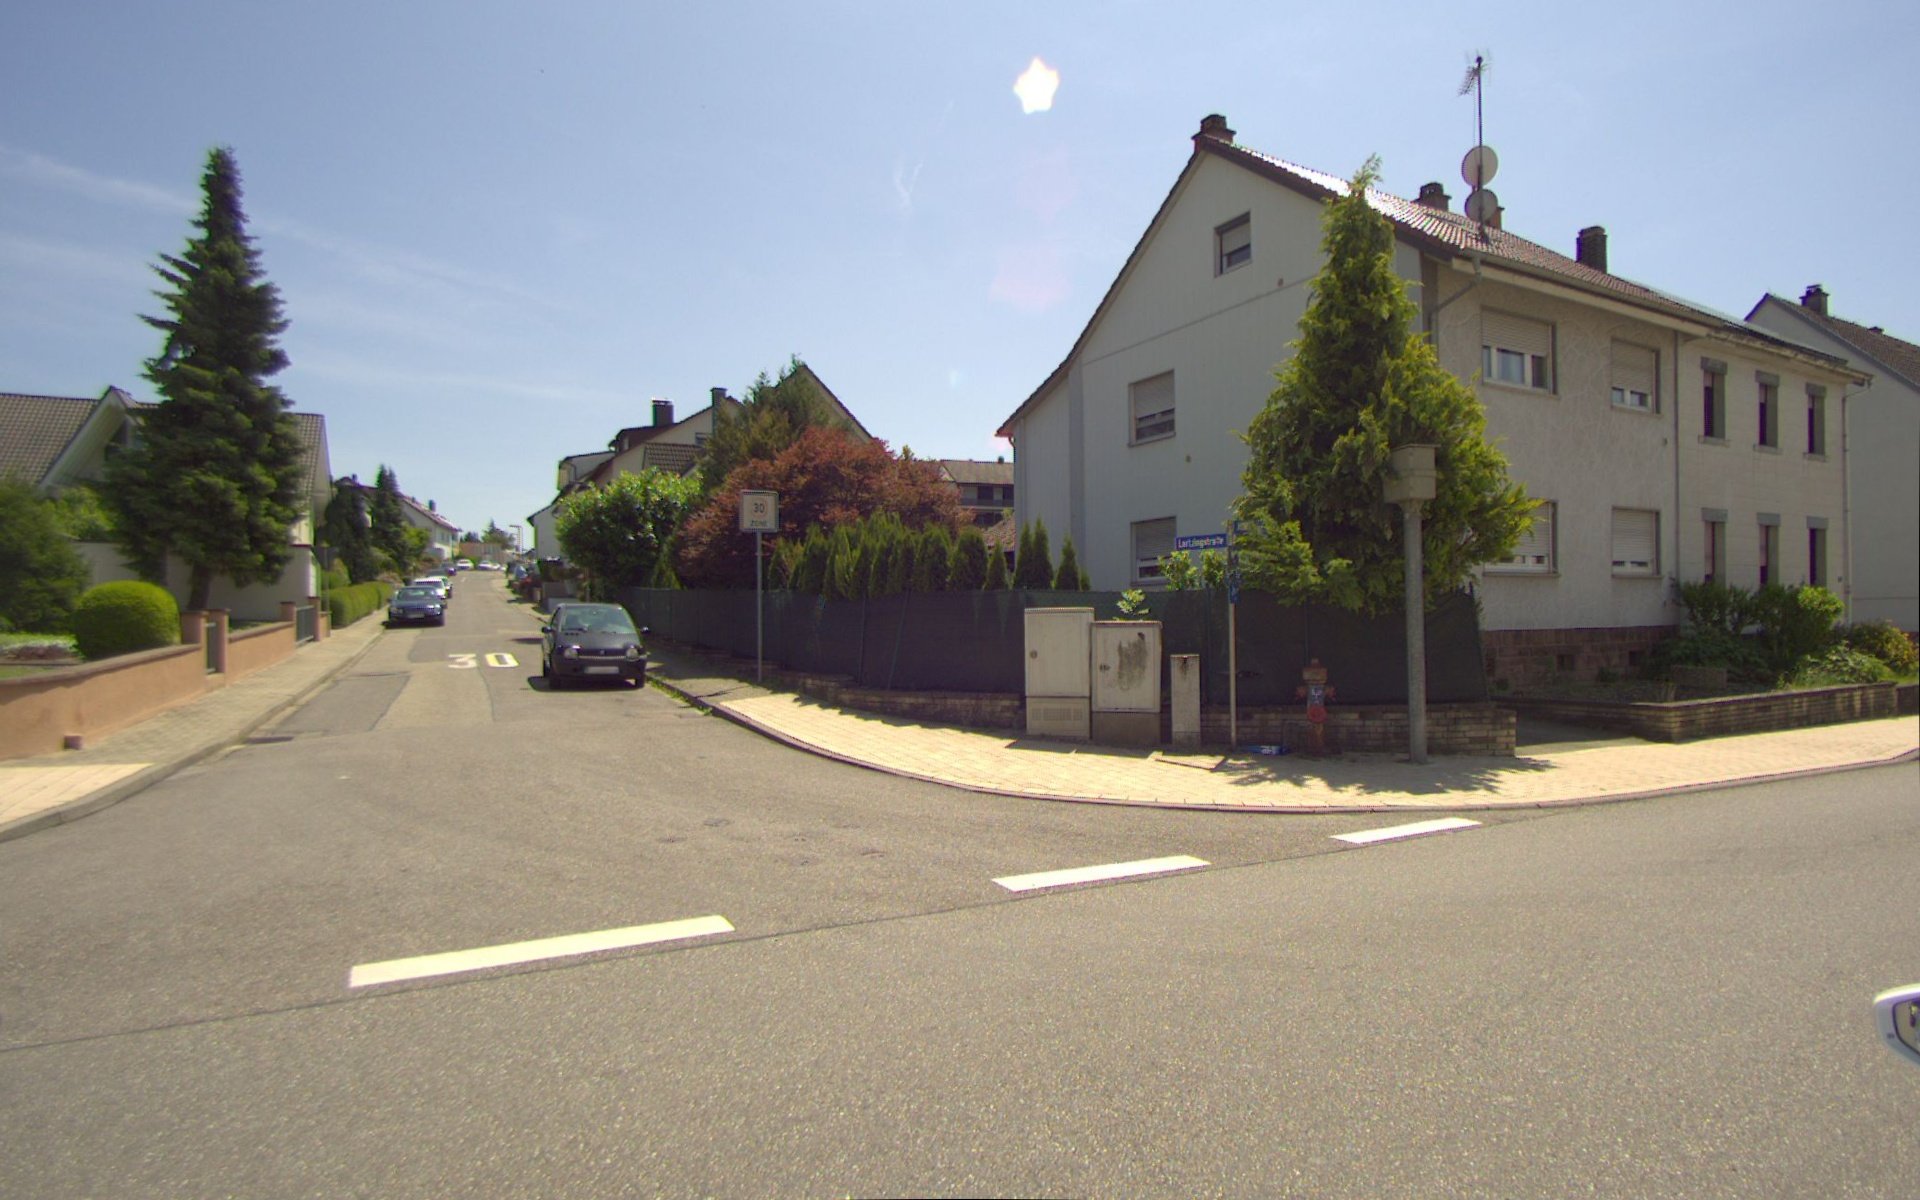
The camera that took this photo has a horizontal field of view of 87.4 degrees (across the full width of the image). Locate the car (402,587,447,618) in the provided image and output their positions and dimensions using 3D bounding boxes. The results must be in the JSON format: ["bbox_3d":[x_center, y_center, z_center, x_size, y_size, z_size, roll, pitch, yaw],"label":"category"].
[{"bbox_3d":[-29.155,0.121,54.775,1.904,1.573,4.274,1,0,-25],"label":"car"}]

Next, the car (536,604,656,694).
[{"bbox_3d":[-6.795,0.836,18.538,1.728,1.435,3.731,1,0,-25],"label":"car"}]

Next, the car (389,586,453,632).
[{"bbox_3d":[-19.940,0.318,37.276,1.851,1.573,3.883,1,1,-25],"label":"car"}]

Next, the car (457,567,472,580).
[{"bbox_3d":[-66.347,-3.547,134.392,1.705,1.573,3.649,1,0,-25],"label":"car"}]

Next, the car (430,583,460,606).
[{"bbox_3d":[-35.956,-0.388,70.219,1.705,1.573,3.649,1,0,-25],"label":"car"}]
